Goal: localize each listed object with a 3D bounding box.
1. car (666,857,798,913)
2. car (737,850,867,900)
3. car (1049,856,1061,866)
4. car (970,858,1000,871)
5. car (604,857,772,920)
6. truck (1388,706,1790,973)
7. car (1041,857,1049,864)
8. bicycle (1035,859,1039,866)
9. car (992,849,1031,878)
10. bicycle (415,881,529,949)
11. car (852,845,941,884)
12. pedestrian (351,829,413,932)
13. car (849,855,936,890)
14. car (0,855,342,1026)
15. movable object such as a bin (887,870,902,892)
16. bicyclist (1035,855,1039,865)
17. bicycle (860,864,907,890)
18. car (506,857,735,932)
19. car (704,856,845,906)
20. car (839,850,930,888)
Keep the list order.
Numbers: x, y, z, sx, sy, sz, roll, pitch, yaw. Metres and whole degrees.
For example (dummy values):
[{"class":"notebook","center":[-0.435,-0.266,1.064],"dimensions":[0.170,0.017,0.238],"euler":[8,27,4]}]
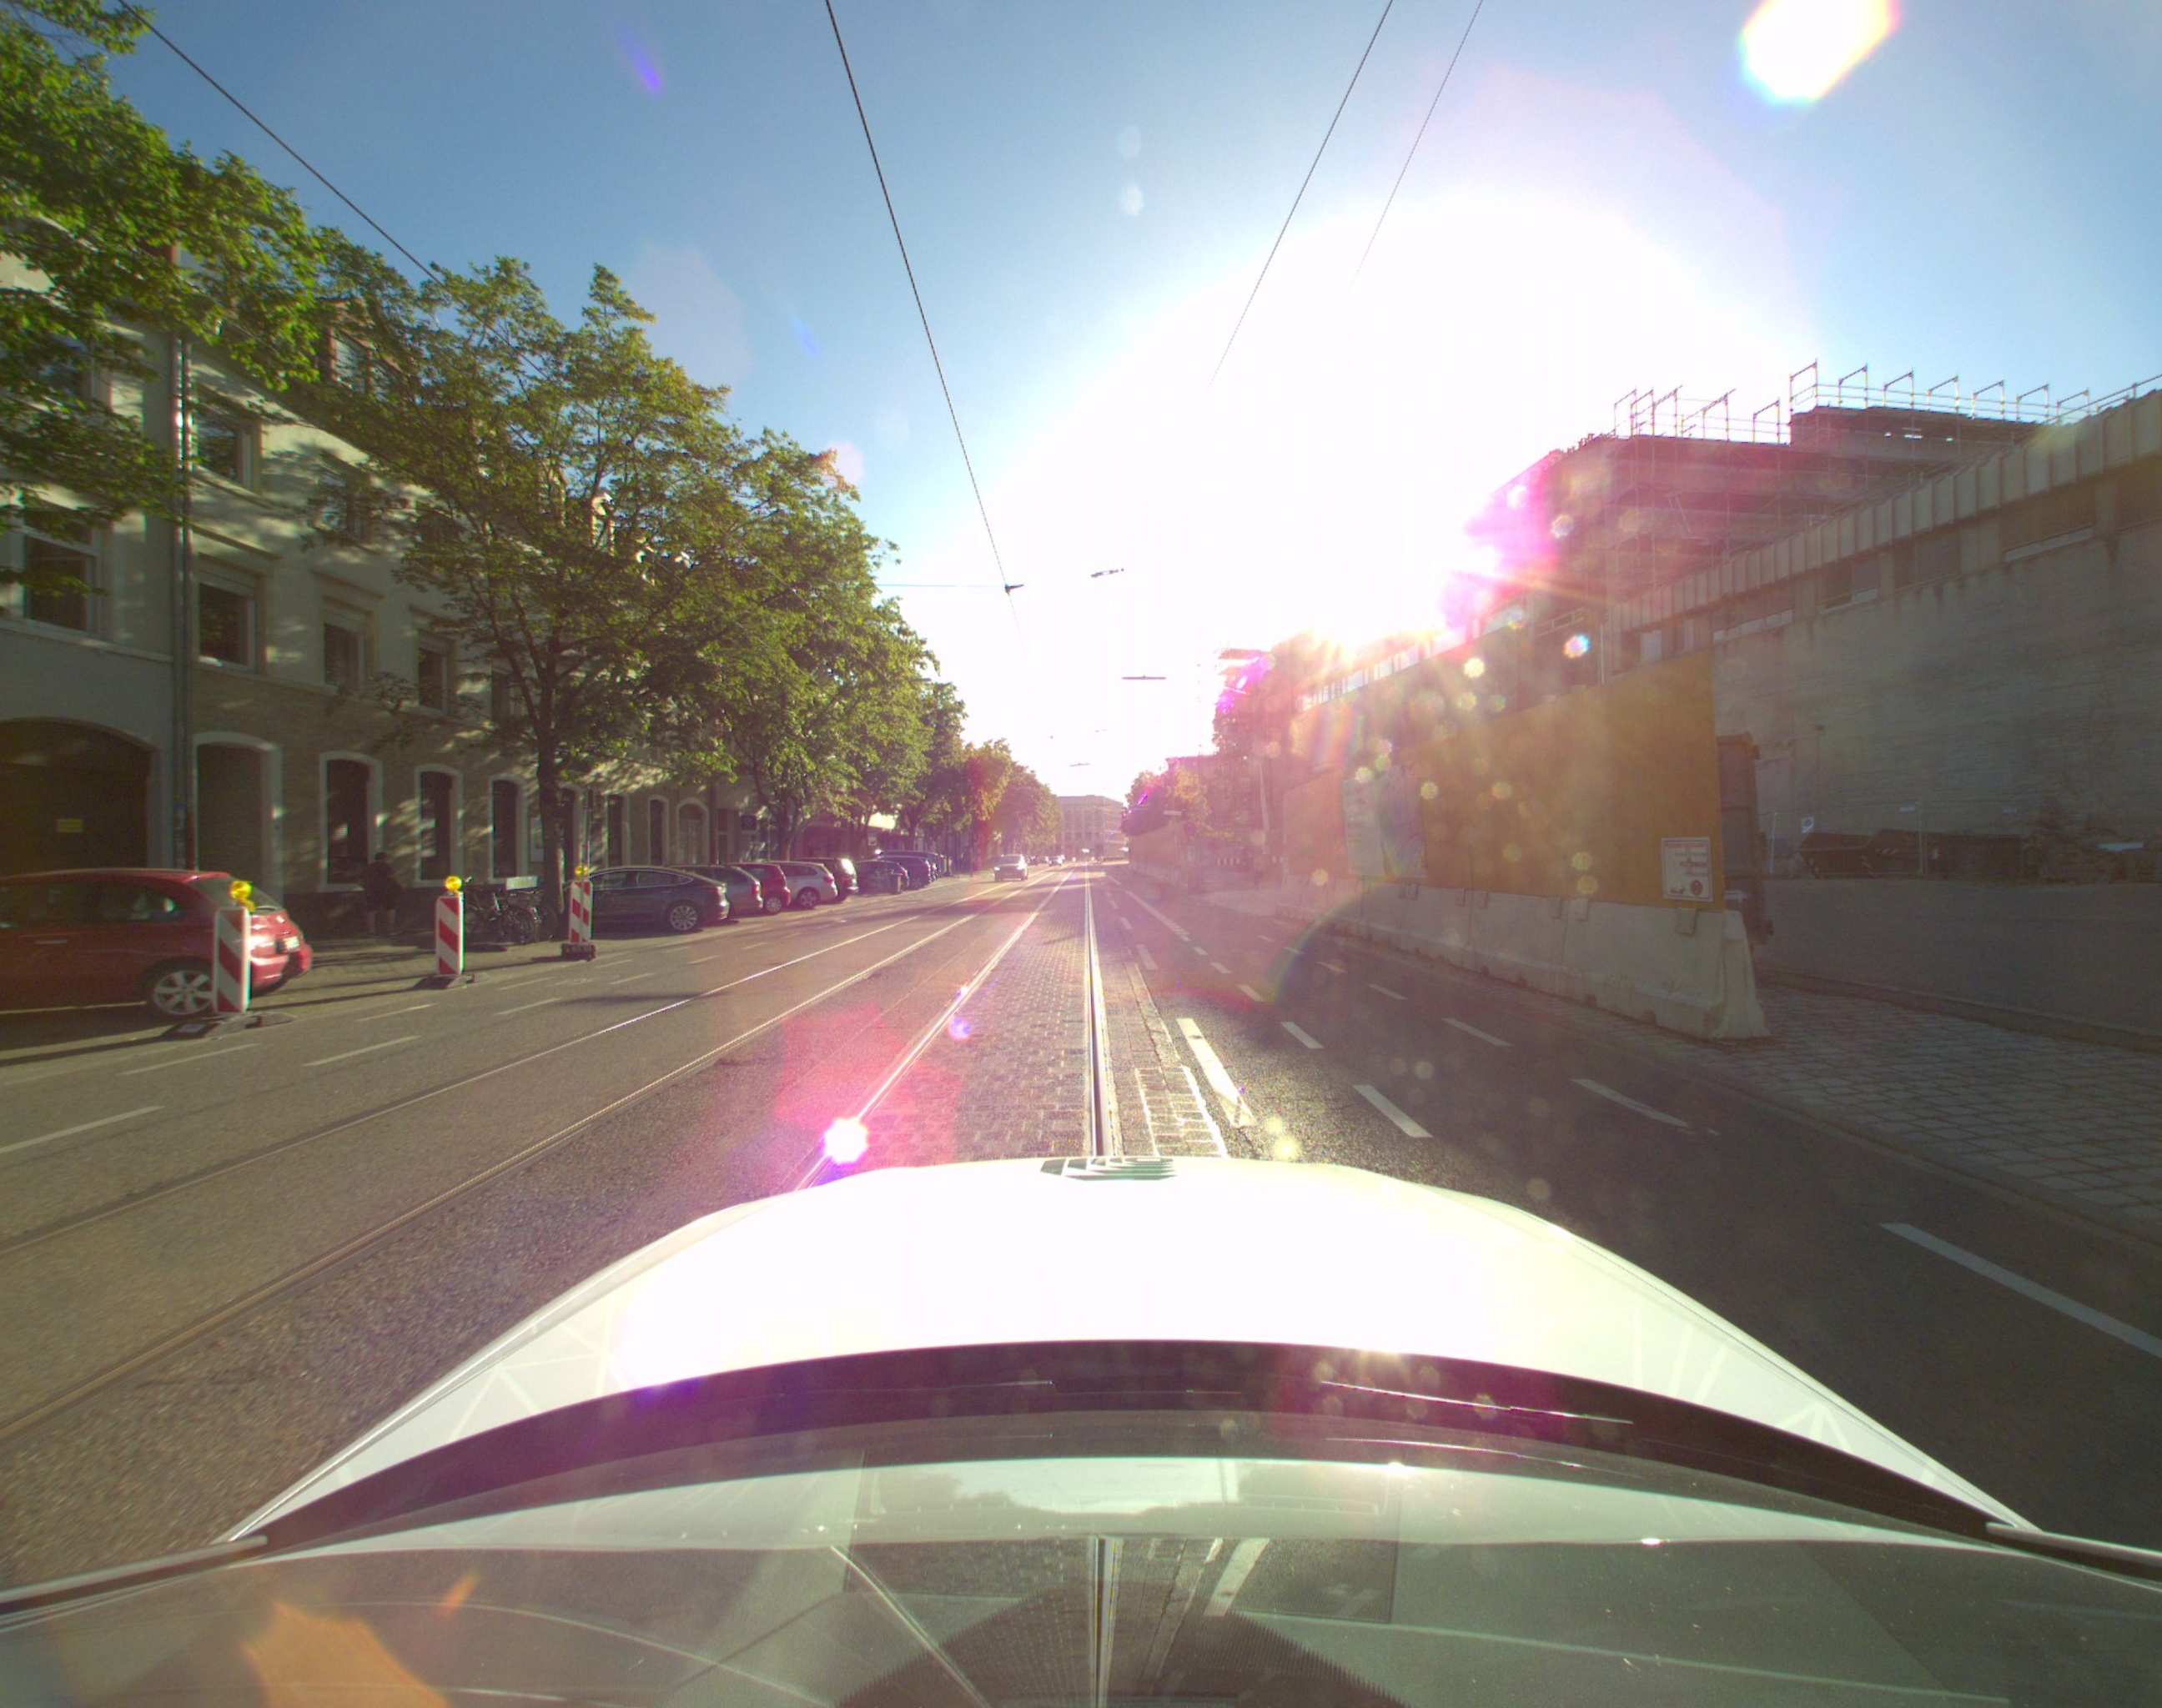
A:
[{"class":"car","center":[-10.122,0.876,23.608],"dimensions":[3.381,1.493,1.598],"euler":[1,0,-28]},{"class":"car","center":[-10.202,0.738,29.971],"dimensions":[4.094,1.678,1.839],"euler":[2,0,-3]},{"class":"car","center":[-3.816,1.051,120.420],"dimensions":[1.705,1.436,4.167],"euler":[-1,0,-2]},{"class":"car","center":[-10.116,1.118,85.964],"dimensions":[2.950,1.332,1.204],"euler":[-2,0,-28]},{"class":"car","center":[-9.978,0.853,20.769],"dimensions":[3.693,1.470,1.737],"euler":[1,-1,-29]},{"class":"truck","center":[6.856,-0.167,12.097],"dimensions":[2.510,2.909,5.509],"euler":[-4,0,2]},{"class":"car","center":[-7.722,1.387,174.572],"dimensions":[1.567,1.490,4.000],"euler":[-1,0,1]},{"class":"bicycle","center":[-5.988,1.189,110.005],"dimensions":[0.448,0.881,1.898],"euler":[-1,0,-4]},{"class":"car","center":[-4.309,0.581,51.102],"dimensions":[1.921,1.629,4.249],"euler":[-2,0,1]},{"class":"bicycle","center":[-10.944,1.073,14.682],"dimensions":[1.603,1.095,0.329],"euler":[-1,0,-45]},{"class":"car","center":[-9.852,0.570,43.445],"dimensions":[4.370,1.986,1.935],"euler":[1,-1,-22]},{"class":"pedestrian","center":[-13.940,0.519,16.258],"dimensions":[0.728,2.013,0.556],"euler":[-1,0,1]},{"class":"car","center":[-8.869,0.835,38.275],"dimensions":[3.866,1.476,1.832],"euler":[-1,0,-18]},{"class":"car","center":[-10.387,0.824,8.475],"dimensions":[3.632,1.553,1.655],"euler":[1,1,-26]},{"class":"movable object such as a bin","center":[-8.268,1.188,36.071],"dimensions":[0.576,0.913,0.572],"euler":[1,0,-16]},{"class":"bicyclist","center":[-5.948,0.846,110.009],"dimensions":[0.457,1.378,0.639],"euler":[-1,0,-5]},{"class":"bicycle","center":[-8.884,1.017,36.630],"dimensions":[1.971,1.144,0.489],"euler":[1,-1,-18]},{"class":"car","center":[-10.078,0.848,18.160],"dimensions":[4.211,1.491,1.927],"euler":[1,0,-27]},{"class":"car","center":[-9.981,0.855,26.510],"dimensions":[4.125,1.512,1.825],"euler":[1,0,-26]},{"class":"car","center":[-9.874,0.728,40.901],"dimensions":[4.251,1.685,1.798],"euler":[-2,0,-21]}]
